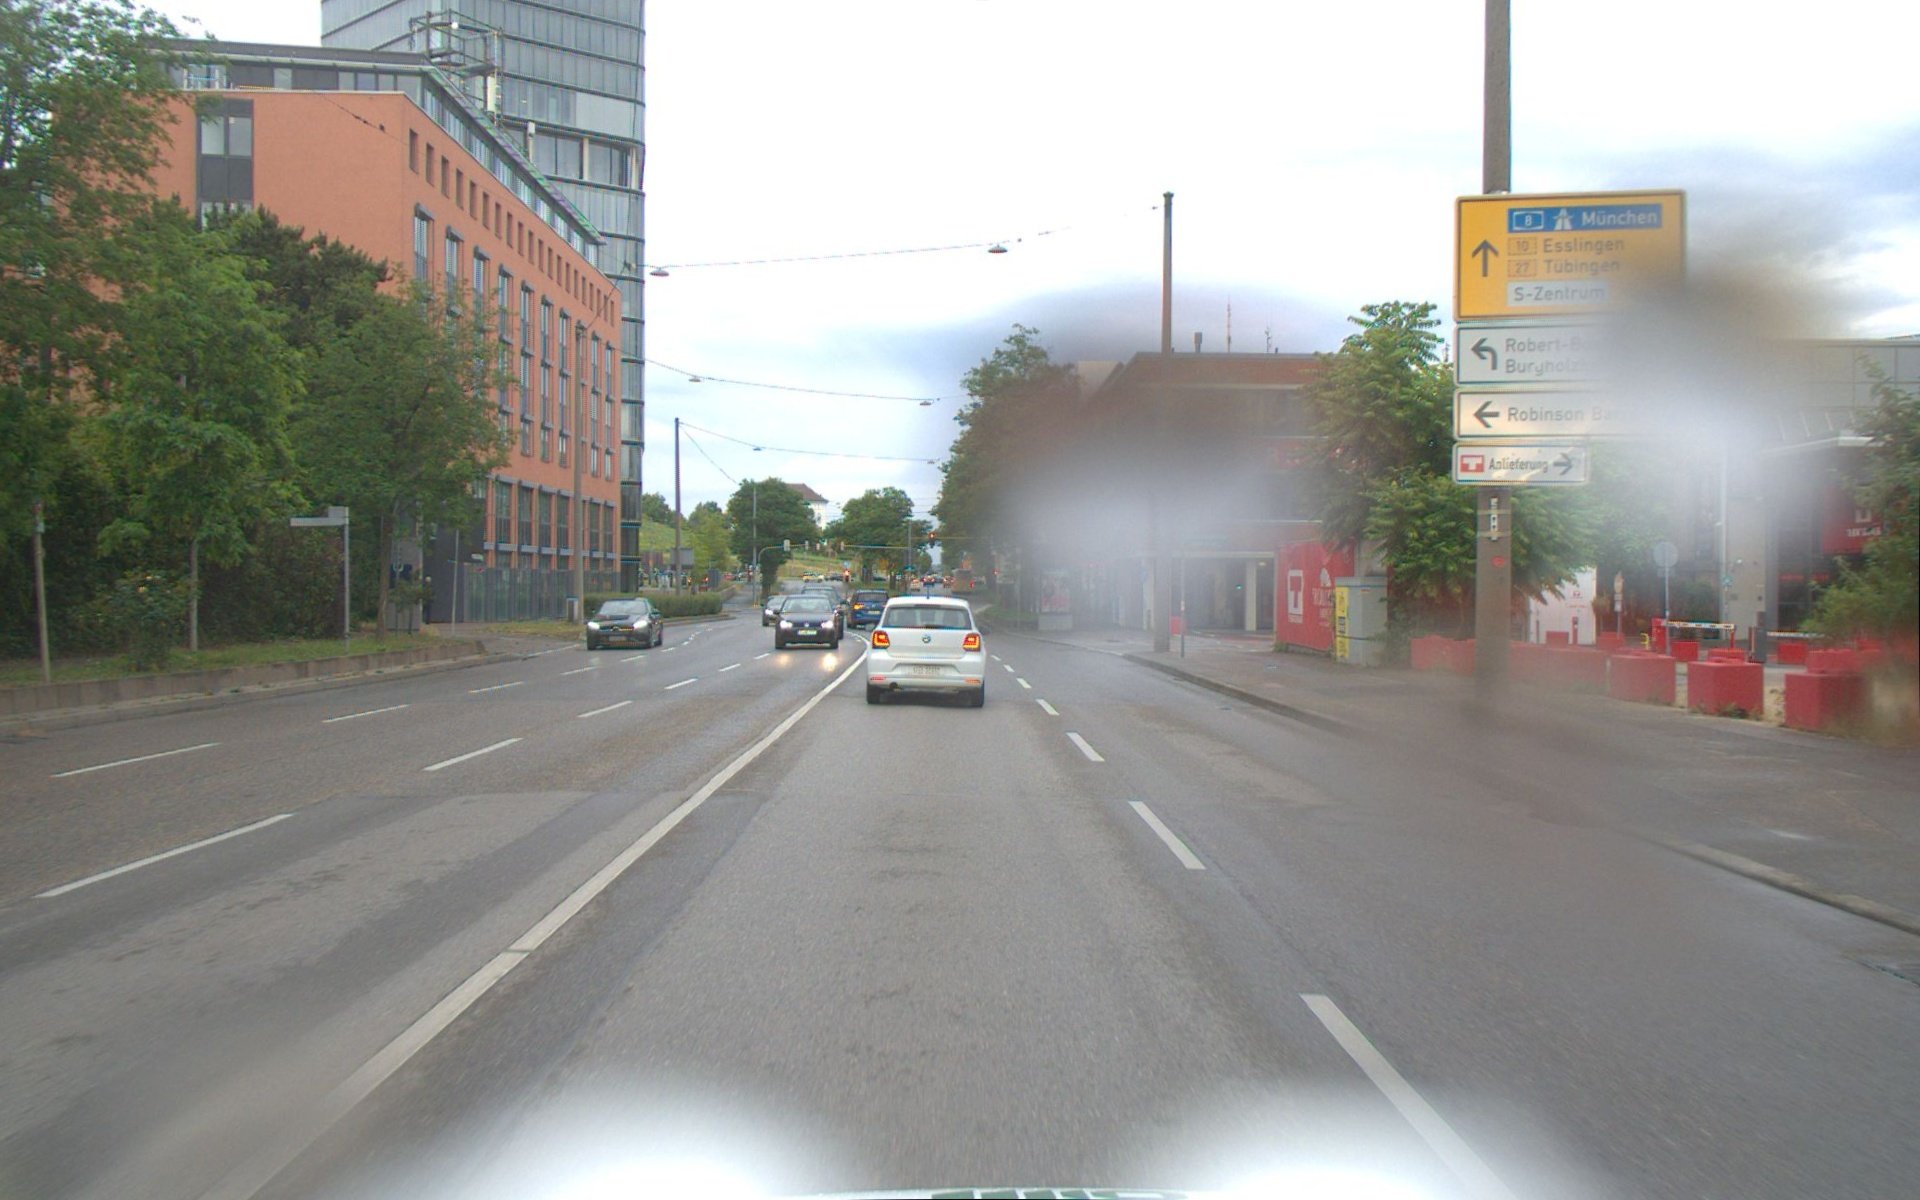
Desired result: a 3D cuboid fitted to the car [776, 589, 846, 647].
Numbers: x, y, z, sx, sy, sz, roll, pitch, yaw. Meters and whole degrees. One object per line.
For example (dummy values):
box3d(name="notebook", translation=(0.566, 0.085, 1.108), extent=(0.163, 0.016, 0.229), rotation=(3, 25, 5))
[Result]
box3d(name="car", translation=(-4.040, 0.463, 45.385), extent=(1.625, 1.512, 3.819), rotation=(0, 0, -1))

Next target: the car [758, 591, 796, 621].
box3d(name="car", translation=(-8.879, 0.278, 80.487), extent=(1.678, 1.389, 3.996), rotation=(-1, 0, -4))

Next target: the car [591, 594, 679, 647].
box3d(name="car", translation=(-9.387, 0.562, 48.051), extent=(1.588, 1.346, 4.447), rotation=(-2, 1, 0))

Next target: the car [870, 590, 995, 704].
box3d(name="car", translation=(-0.407, 0.615, 23.720), extent=(1.637, 1.499, 3.778), rotation=(0, 0, -1))

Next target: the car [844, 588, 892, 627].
box3d(name="car", translation=(-3.902, 0.311, 70.668), extent=(1.953, 1.601, 3.998), rotation=(0, 0, -3))

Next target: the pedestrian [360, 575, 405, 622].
box3d(name="pedestrian", translation=(-21.953, -0.051, 62.871), extent=(1.182, 1.708, 1.419), rotation=(-2, -2, -1))

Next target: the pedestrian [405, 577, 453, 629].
box3d(name="pedestrian", translation=(-19.890, 0.112, 61.999), extent=(1.289, 1.855, 1.438), rotation=(-2, -2, -1))

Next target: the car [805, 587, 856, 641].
box3d(name="car", translation=(-4.322, 0.449, 55.612), extent=(1.472, 1.695, 3.419), rotation=(0, 1, -1))
